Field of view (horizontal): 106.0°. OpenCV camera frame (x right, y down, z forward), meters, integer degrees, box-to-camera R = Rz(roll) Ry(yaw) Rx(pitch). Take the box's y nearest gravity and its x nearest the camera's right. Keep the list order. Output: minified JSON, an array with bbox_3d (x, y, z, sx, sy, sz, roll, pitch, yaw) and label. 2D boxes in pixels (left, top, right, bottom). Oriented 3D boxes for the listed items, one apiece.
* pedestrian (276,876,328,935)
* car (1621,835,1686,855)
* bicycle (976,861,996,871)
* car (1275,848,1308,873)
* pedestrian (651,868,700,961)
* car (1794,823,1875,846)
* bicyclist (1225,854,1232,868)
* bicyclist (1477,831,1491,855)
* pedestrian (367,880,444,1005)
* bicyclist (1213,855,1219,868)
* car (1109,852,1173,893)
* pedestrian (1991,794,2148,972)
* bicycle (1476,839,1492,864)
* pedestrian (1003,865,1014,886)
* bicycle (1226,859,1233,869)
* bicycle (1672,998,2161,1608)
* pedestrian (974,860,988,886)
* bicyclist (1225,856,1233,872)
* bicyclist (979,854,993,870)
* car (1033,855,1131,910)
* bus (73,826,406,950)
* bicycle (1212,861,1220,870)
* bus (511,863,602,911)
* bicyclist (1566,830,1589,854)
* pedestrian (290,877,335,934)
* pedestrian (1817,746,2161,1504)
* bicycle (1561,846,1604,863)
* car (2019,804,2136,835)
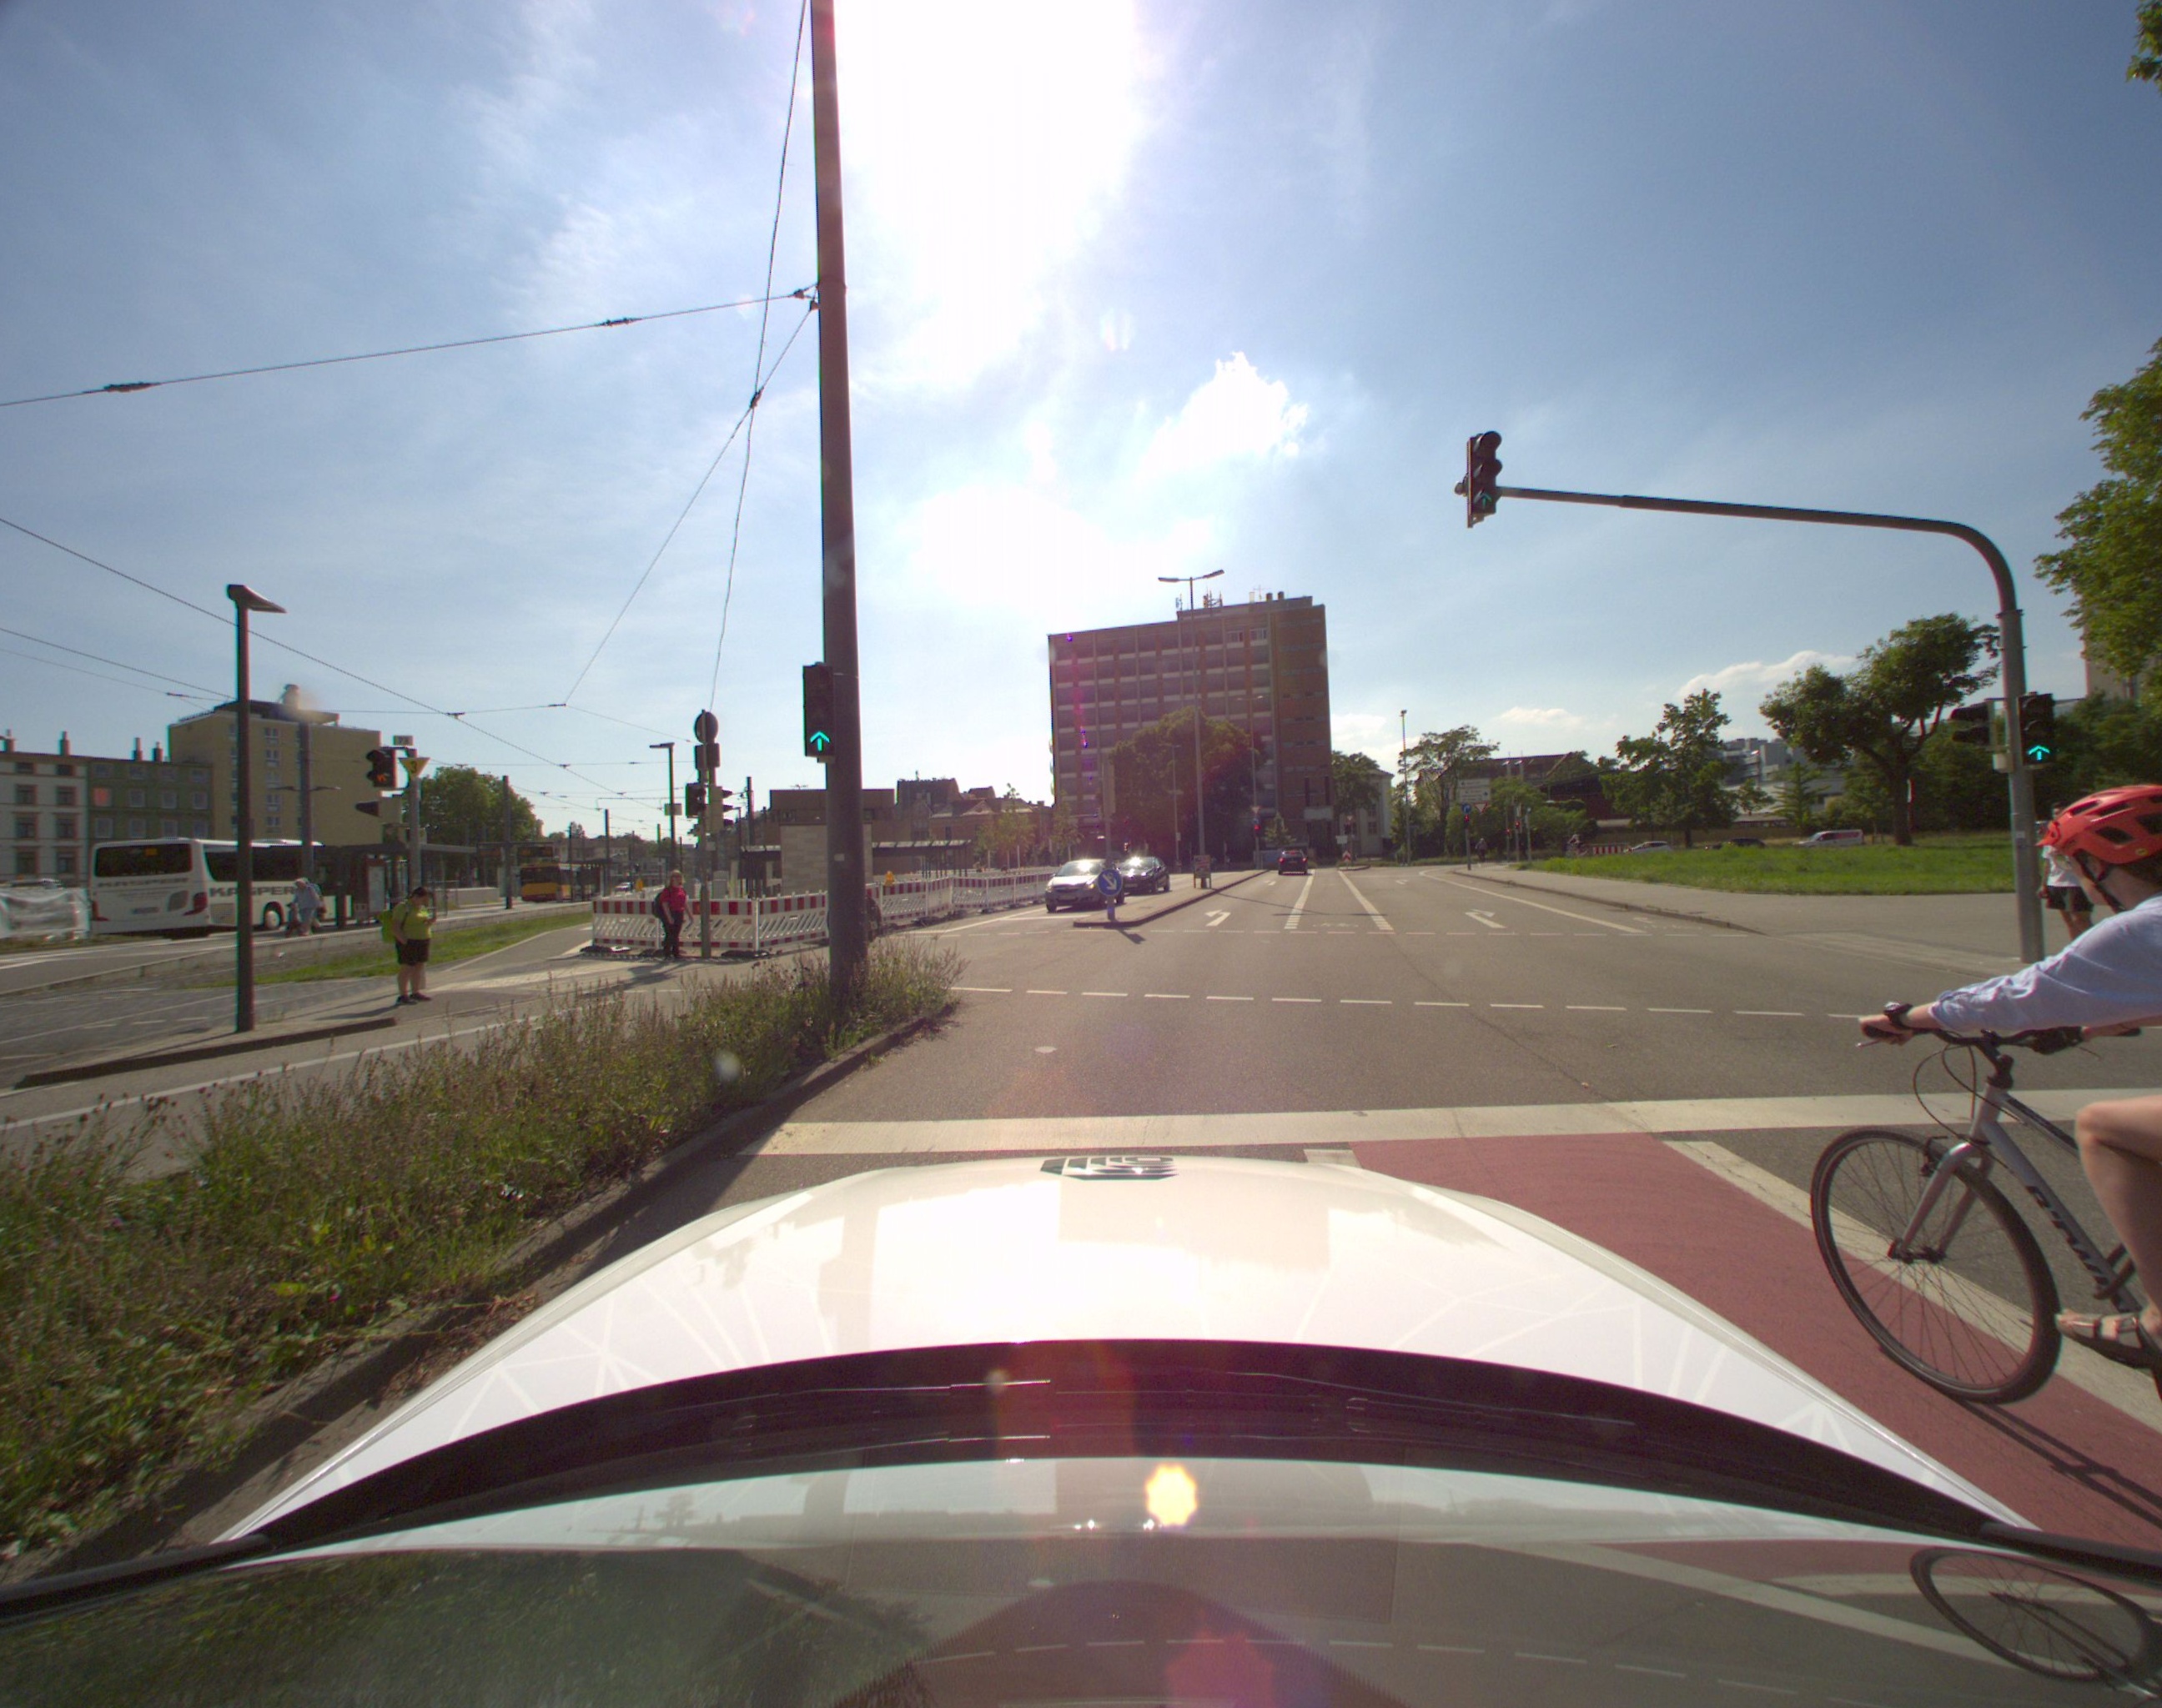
[{"bbox_3d":[-22.035,1.449,23.051,0.789,1.615,0.662,-2,0,0],"label":"pedestrian"},{"bbox_3d":[48.225,-0.724,68.664,3.956,1.464,2.008,-3,-2,16],"label":"car"},{"bbox_3d":[-9.004,1.139,77.543,1.872,0.792,0.564,-3,1,29],"label":"bicycle"},{"bbox_3d":[12.962,0.398,49.979,1.766,1.443,3.835,-1,0,17],"label":"car"},{"bbox_3d":[-7.267,1.069,14.623,0.347,1.616,0.689,-3,-1,18],"label":"pedestrian"},{"bbox_3d":[59.714,-1.541,64.648,4.277,1.569,1.918,-3,0,16],"label":"car"},{"bbox_3d":[15.905,0.717,87.599,0.614,1.443,0.924,-5,-1,12],"label":"bicyclist"},{"bbox_3d":[28.973,-0.795,58.526,0.673,1.655,0.923,-3,-1,16],"label":"bicyclist"},{"bbox_3d":[-8.773,1.125,10.590,0.669,1.543,0.420,0,0,-24],"label":"pedestrian"},{"bbox_3d":[15.018,0.858,90.487,0.535,1.417,1.034,-4,-2,15],"label":"bicyclist"},{"bbox_3d":[2.418,0.696,32.079,1.653,1.451,3.835,-1,0,17],"label":"car"},{"bbox_3d":[11.087,0.313,9.165,0.650,1.874,0.796,-4,-1,-2],"label":"pedestrian"},{"bbox_3d":[29.043,-0.168,58.676,0.673,1.765,1.819,-3,-1,17],"label":"bicycle"},{"bbox_3d":[-5.169,1.515,58.214,0.628,1.491,0.617,-3,-1,0],"label":"pedestrian"},{"bbox_3d":[15.935,1.072,87.591,0.614,0.961,1.974,-5,-1,12],"label":"bicycle"},{"bbox_3d":[2.363,0.973,1.845,0.594,0.931,2.028,-1,-1,1],"label":"bicycle"},{"bbox_3d":[-6.946,1.354,56.697,0.733,1.752,1.111,-3,-3,1],"label":"pedestrian"},{"bbox_3d":[15.935,1.072,87.591,0.614,1.582,1.017,-5,-1,12],"label":"bicyclist"},{"bbox_3d":[-9.024,0.728,77.548,1.154,1.474,0.567,-3,-1,29],"label":"bicyclist"},{"bbox_3d":[0.134,0.797,24.680,1.780,1.412,4.018,-4,-1,17],"label":"car"},{"bbox_3d":[-29.725,1.097,30.032,2.861,3.489,12.579,-3,0,-18],"label":"bus"},{"bbox_3d":[14.996,1.303,90.491,0.699,0.977,2.039,-3,-1,15],"label":"bicycle"},{"bbox_3d":[-41.130,2.519,64.417,2.861,3.281,12.579,-2,-1,-18],"label":"bus"},{"bbox_3d":[30.701,-0.741,50.388,0.497,1.470,1.133,0,-1,-26],"label":"bicyclist"},{"bbox_3d":[-22.653,1.511,24.013,0.685,1.615,0.585,-2,0,-2],"label":"pedestrian"},{"bbox_3d":[2.375,0.523,1.784,0.581,1.466,1.014,-1,-1,1],"label":"pedestrian"},{"bbox_3d":[30.875,0.043,50.175,0.676,0.916,2.150,-3,-1,-26],"label":"bicycle"},{"bbox_3d":[57.984,-2.002,47.463,3.956,1.508,1.760,-3,-1,16],"label":"car"}]
